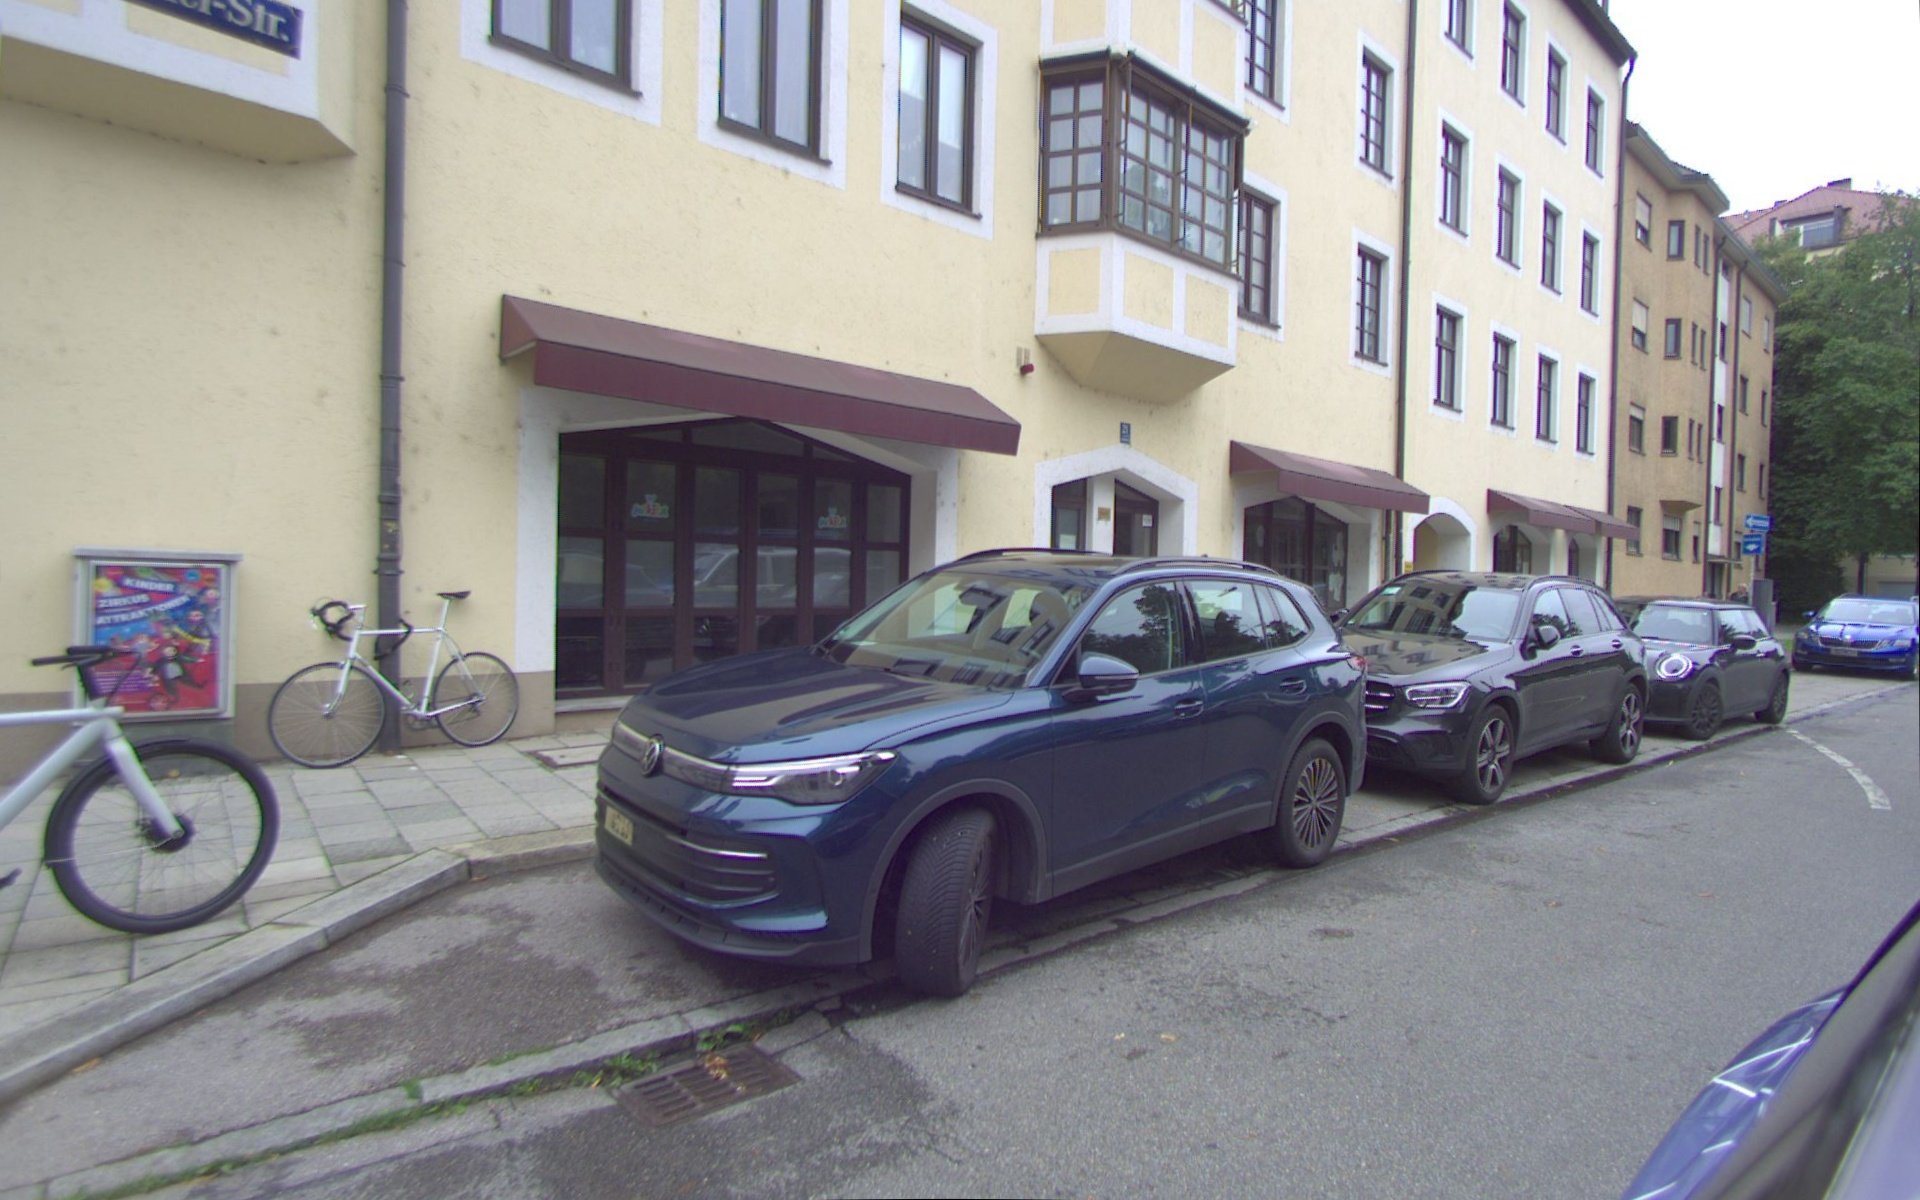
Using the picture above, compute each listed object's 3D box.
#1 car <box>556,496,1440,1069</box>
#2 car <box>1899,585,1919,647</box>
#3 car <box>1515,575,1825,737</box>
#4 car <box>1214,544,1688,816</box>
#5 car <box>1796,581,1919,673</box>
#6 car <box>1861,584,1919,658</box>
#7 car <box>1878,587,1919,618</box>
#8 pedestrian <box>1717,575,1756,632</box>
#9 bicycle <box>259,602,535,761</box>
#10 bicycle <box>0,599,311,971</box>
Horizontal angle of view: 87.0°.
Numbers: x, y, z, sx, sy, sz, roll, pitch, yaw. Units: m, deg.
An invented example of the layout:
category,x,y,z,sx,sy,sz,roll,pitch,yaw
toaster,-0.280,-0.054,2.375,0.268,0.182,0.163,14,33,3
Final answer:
category,x,y,z,sx,sy,sz,roll,pitch,yaw
car,0.523,0.485,5.146,4.432,1.700,1.822,0,3,-42
car,25.371,0.432,25.735,3.718,1.514,1.632,0,3,-39
car,8.231,0.530,11.654,3.751,1.514,1.763,0,3,-36
car,4.318,0.464,8.535,4.622,1.700,1.761,0,3,-39
car,17.652,0.446,19.279,4.406,1.514,1.761,0,3,-39
car,21.722,0.450,22.587,4.354,1.514,1.695,0,3,-39
car,49.559,0.111,52.853,4.174,1.485,2.051,0,2,-43
pedestrian,22.962,0.101,29.944,0.962,1.644,0.672,-1,2,-38
bicycle,-3.841,0.514,7.021,1.656,0.990,0.271,0,0,-42
bicycle,-3.426,0.613,3.480,1.960,1.223,0.515,0,1,-41
